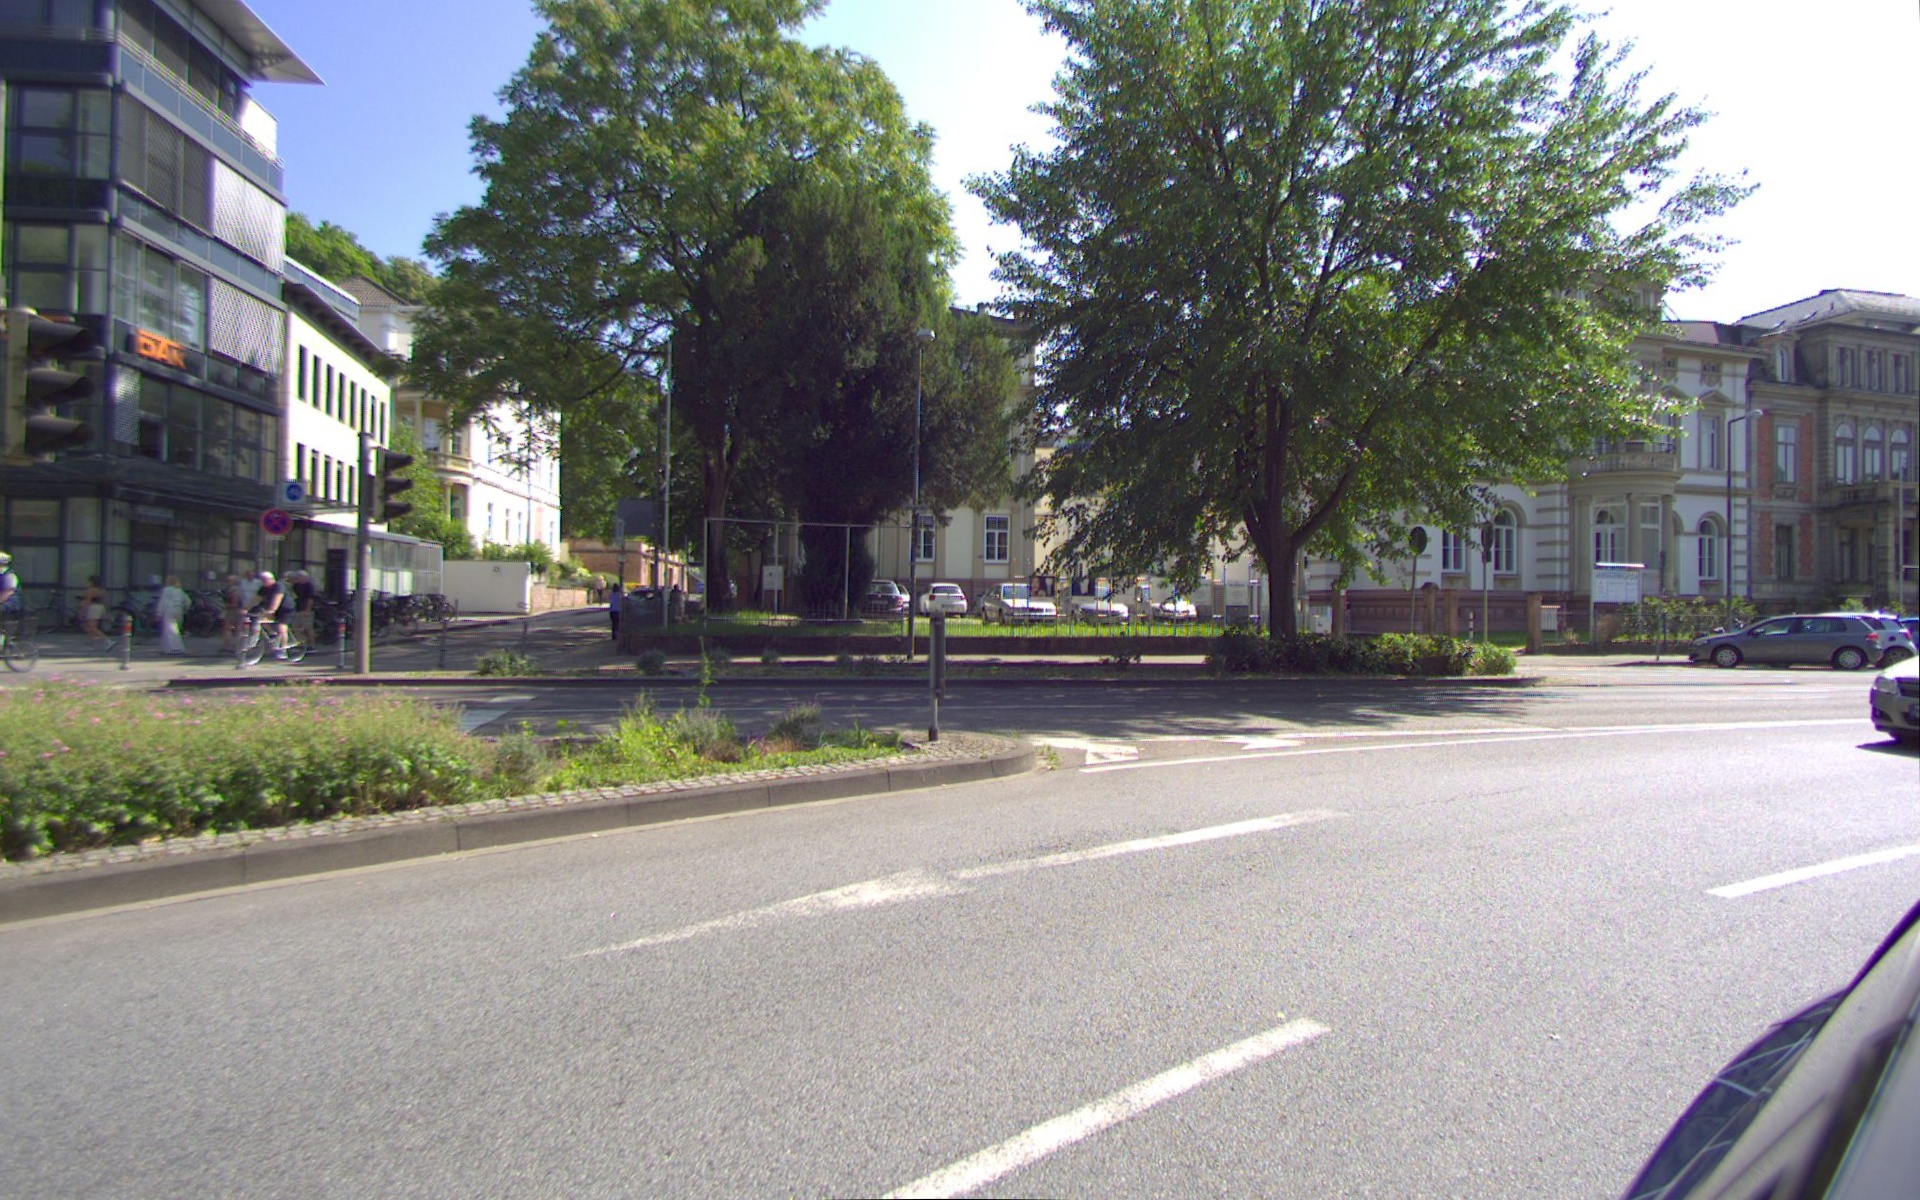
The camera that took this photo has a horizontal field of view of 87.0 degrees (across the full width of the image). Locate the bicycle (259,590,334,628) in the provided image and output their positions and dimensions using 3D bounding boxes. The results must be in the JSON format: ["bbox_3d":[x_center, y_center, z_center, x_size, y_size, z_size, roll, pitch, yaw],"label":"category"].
[{"bbox_3d":[-19.584,0.265,29.872,1.798,1.099,0.539,1,0,-6],"label":"bicycle"}]

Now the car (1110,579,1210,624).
[{"bbox_3d":[6.405,0.035,32.832,1.822,1.353,4.060,1,0,-10],"label":"car"}]

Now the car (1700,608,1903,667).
[{"bbox_3d":[22.575,0.965,27.387,4.082,1.480,1.803,0,-1,37],"label":"car"}]

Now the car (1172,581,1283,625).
[{"bbox_3d":[8.653,0.096,33.130,1.950,1.353,4.060,1,0,-10],"label":"car"}]

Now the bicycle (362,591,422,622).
[{"bbox_3d":[-20.526,0.231,36.580,1.798,1.099,0.539,1,0,-6],"label":"bicycle"}]

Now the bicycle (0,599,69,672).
[{"bbox_3d":[-15.327,0.553,15.883,0.743,1.127,2.080,0,-1,4],"label":"bicycle"}]

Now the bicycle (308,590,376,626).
[{"bbox_3d":[-19.740,0.253,32.340,1.798,1.099,0.539,1,0,-6],"label":"bicycle"}]

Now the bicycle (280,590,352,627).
[{"bbox_3d":[-19.782,0.259,31.091,1.798,1.099,0.539,1,0,-6],"label":"bicycle"}]

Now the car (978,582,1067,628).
[{"bbox_3d":[1.878,0.146,31.859,1.784,1.353,4.488,1,0,-10],"label":"car"}]

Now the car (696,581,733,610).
[{"bbox_3d":[-15.224,-0.283,62.903,1.796,1.667,4.139,1,0,-7],"label":"car"}]

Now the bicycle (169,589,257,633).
[{"bbox_3d":[-19.308,0.283,26.168,1.798,1.099,0.539,1,0,-6],"label":"bicycle"}]

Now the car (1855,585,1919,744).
[{"bbox_3d":[11.422,0.613,10.045,4.396,1.519,1.724,0,1,-16],"label":"car"}]

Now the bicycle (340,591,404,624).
[{"bbox_3d":[-19.872,0.243,34.216,1.798,1.099,0.539,1,0,-6],"label":"bicycle"}]

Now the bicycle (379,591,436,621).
[{"bbox_3d":[-20.650,0.225,37.821,1.798,1.099,0.539,1,0,-6],"label":"bicycle"}]

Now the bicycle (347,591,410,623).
[{"bbox_3d":[-19.989,0.240,34.811,1.798,1.099,0.539,1,0,-6],"label":"bicycle"}]

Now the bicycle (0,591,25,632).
[{"bbox_3d":[-22.981,0.267,23.903,1.314,0.953,0.407,1,0,-7],"label":"bicycle"}]

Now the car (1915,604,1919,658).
[{"bbox_3d":[31.677,0.962,30.247,4.237,1.718,1.695,0,-1,30],"label":"car"}]

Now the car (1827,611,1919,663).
[{"bbox_3d":[27.868,1.075,29.387,3.778,1.460,1.695,0,-1,30],"label":"car"}]

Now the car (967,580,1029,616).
[{"bbox_3d":[1.566,-0.081,43.219,1.784,1.437,4.069,1,0,-10],"label":"car"}]

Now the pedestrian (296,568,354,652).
[{"bbox_3d":[-14.447,0.226,23.050,0.813,1.878,0.774,1,-1,-5],"label":"pedestrian"}]

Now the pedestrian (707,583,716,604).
[{"bbox_3d":[-24.642,-0.681,100.322,0.708,2.039,0.863,1,0,-9],"label":"pedestrian"}]

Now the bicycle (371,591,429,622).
[{"bbox_3d":[-20.585,0.228,37.199,1.798,1.099,0.539,1,0,-6],"label":"bicycle"}]

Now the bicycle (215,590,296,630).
[{"bbox_3d":[-19.454,0.274,27.970,1.798,1.099,0.539,1,0,-6],"label":"bicycle"}]

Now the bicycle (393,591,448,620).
[{"bbox_3d":[-20.765,0.219,38.976,1.798,1.099,0.539,1,0,-6],"label":"bicycle"}]

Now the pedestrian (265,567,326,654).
[{"bbox_3d":[-14.635,0.237,22.301,0.813,1.878,0.773,0,-1,-2],"label":"pedestrian"}]

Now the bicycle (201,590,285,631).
[{"bbox_3d":[-19.384,0.277,27.375,1.798,1.099,0.539,1,0,-6],"label":"bicycle"}]

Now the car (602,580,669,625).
[{"bbox_3d":[-12.837,0.096,40.304,1.796,1.667,4.139,1,0,-7],"label":"car"}]

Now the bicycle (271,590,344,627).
[{"bbox_3d":[-19.672,0.261,30.517,1.798,1.099,0.539,1,0,-6],"label":"bicycle"}]

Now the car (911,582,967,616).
[{"bbox_3d":[-0.947,-0.040,43.062,1.784,1.353,4.096,1,0,-10],"label":"car"}]

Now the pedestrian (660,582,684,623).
[{"bbox_3d":[-11.105,0.107,39.066,0.755,1.565,0.668,1,0,-6],"label":"pedestrian"}]

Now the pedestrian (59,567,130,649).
[{"bbox_3d":[-18.340,0.168,21.465,0.814,1.684,0.773,0,-1,1],"label":"pedestrian"}]

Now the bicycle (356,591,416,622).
[{"bbox_3d":[-20.394,0.234,35.988,1.798,1.099,0.539,1,0,-6],"label":"bicycle"}]

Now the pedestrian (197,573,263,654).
[{"bbox_3d":[-15.448,0.288,21.437,0.813,1.684,0.774,1,-1,-3],"label":"pedestrian"}]

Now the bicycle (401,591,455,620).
[{"bbox_3d":[-20.793,0.216,39.581,1.798,1.099,0.539,1,0,-6],"label":"bicycle"}]

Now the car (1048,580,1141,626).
[{"bbox_3d":[4.221,0.096,32.349,1.784,1.353,4.105,1,0,-10],"label":"car"}]

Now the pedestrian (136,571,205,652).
[{"bbox_3d":[-16.722,0.239,21.446,0.814,1.684,0.773,0,-1,3],"label":"pedestrian"}]

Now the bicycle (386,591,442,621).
[{"bbox_3d":[-20.717,0.222,38.405,1.798,1.099,0.539,1,0,-6],"label":"bicycle"}]

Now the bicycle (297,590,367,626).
[{"bbox_3d":[-19.660,0.256,31.695,1.798,1.099,0.539,1,0,-6],"label":"bicycle"}]

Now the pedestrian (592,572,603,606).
[{"bbox_3d":[-21.722,-0.659,60.676,0.483,2.039,0.580,1,0,-13],"label":"pedestrian"}]

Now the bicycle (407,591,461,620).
[{"bbox_3d":[-20.885,0.213,40.207,1.798,1.099,0.539,1,0,-6],"label":"bicycle"}]

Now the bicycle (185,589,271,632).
[{"bbox_3d":[-19.323,0.280,26.732,1.798,1.099,0.539,1,0,-6],"label":"bicycle"}]

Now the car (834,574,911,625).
[{"bbox_3d":[-2.808,-0.012,31.655,1.838,1.494,4.164,1,0,-12],"label":"car"}]

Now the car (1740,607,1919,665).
[{"bbox_3d":[24.644,0.987,28.714,3.783,1.531,1.693,0,-1,33],"label":"car"}]

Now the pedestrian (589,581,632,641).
[{"bbox_3d":[-9.566,0.297,27.740,0.728,1.601,1.121,0,0,5],"label":"pedestrian"}]

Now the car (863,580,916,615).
[{"bbox_3d":[-3.005,-0.101,42.580,1.784,1.353,4.060,1,0,-10],"label":"car"}]

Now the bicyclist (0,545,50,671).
[{"bbox_3d":[-15.313,0.124,16.018,0.735,1.957,1.128,0,-1,5],"label":"bicyclist"}]
